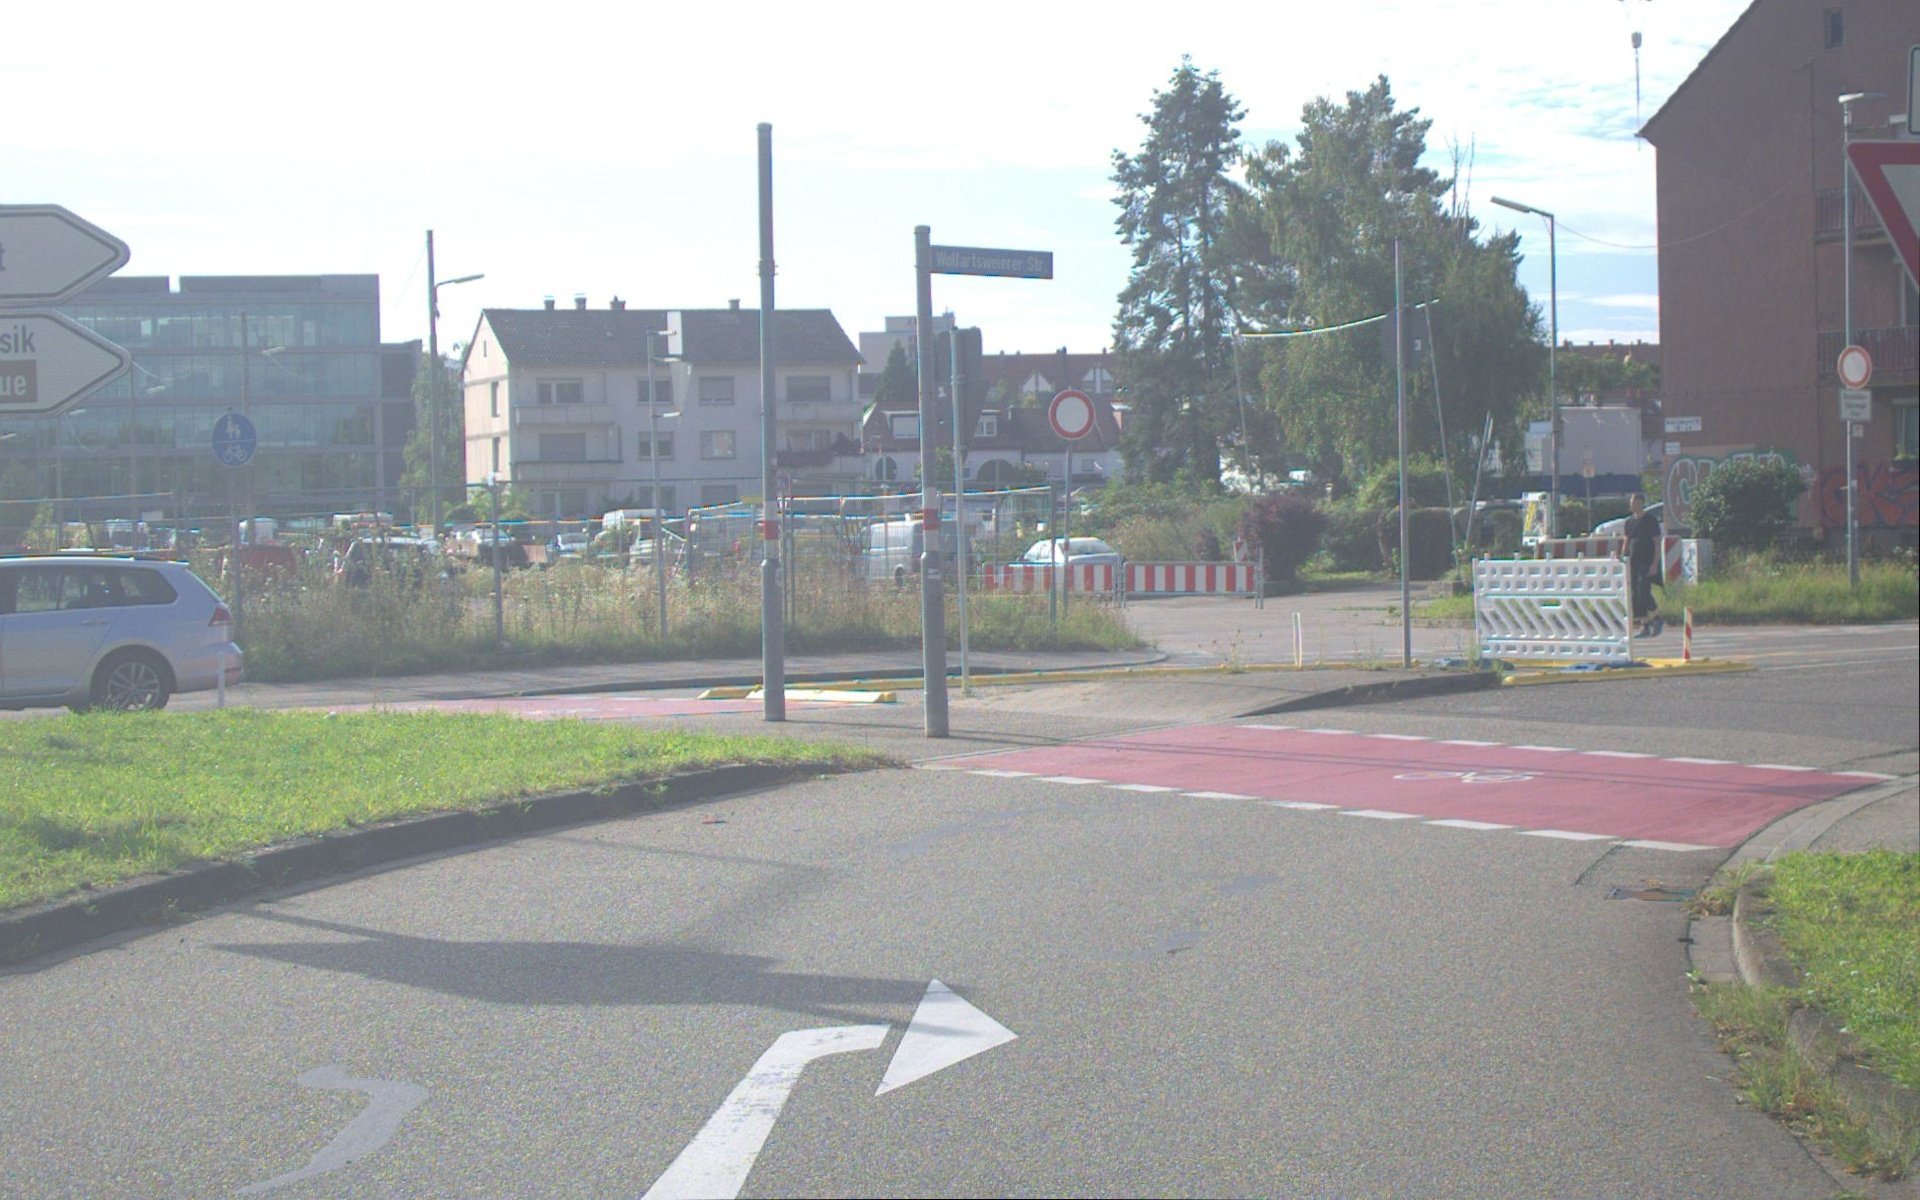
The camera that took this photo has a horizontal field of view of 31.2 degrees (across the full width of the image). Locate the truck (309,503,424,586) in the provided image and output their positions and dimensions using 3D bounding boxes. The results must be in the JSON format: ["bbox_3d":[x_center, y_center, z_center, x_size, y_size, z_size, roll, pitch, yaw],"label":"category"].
[{"bbox_3d":[-17.366,-1.619,100.365,2.056,2.320,5.640,-1,1,-23],"label":"truck"}]

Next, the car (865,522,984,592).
[{"bbox_3d":[-0.986,-1.160,92.807,1.879,1.809,4.001,-1,1,-21],"label":"car"}]

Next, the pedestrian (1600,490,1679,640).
[{"bbox_3d":[8.590,-0.450,43.438,0.668,1.864,0.833,0,1,36],"label":"pedestrian"}]

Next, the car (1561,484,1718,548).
[{"bbox_3d":[17.993,-2.231,91.221,3.988,1.612,1.773,-1,1,9],"label":"car"}]

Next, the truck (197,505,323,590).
[{"bbox_3d":[-20.264,-1.530,99.325,2.327,2.320,6.454,-1,1,-23],"label":"truck"}]

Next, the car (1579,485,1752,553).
[{"bbox_3d":[17.547,-2.007,85.462,3.991,1.612,1.772,-1,1,19],"label":"car"}]

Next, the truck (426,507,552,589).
[{"bbox_3d":[-13.904,-1.552,101.169,2.285,2.320,5.640,-1,1,-23],"label":"truck"}]

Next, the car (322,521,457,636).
[{"bbox_3d":[-9.374,-0.387,56.764,1.879,1.809,4.001,-1,1,-5],"label":"car"}]

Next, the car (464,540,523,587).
[{"bbox_3d":[-19.026,-1.509,140.160,1.993,1.853,4.001,-1,1,-13],"label":"car"}]

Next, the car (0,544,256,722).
[{"bbox_3d":[-8.528,0.287,29.453,4.527,1.447,1.824,-2,2,-28],"label":"car"}]
